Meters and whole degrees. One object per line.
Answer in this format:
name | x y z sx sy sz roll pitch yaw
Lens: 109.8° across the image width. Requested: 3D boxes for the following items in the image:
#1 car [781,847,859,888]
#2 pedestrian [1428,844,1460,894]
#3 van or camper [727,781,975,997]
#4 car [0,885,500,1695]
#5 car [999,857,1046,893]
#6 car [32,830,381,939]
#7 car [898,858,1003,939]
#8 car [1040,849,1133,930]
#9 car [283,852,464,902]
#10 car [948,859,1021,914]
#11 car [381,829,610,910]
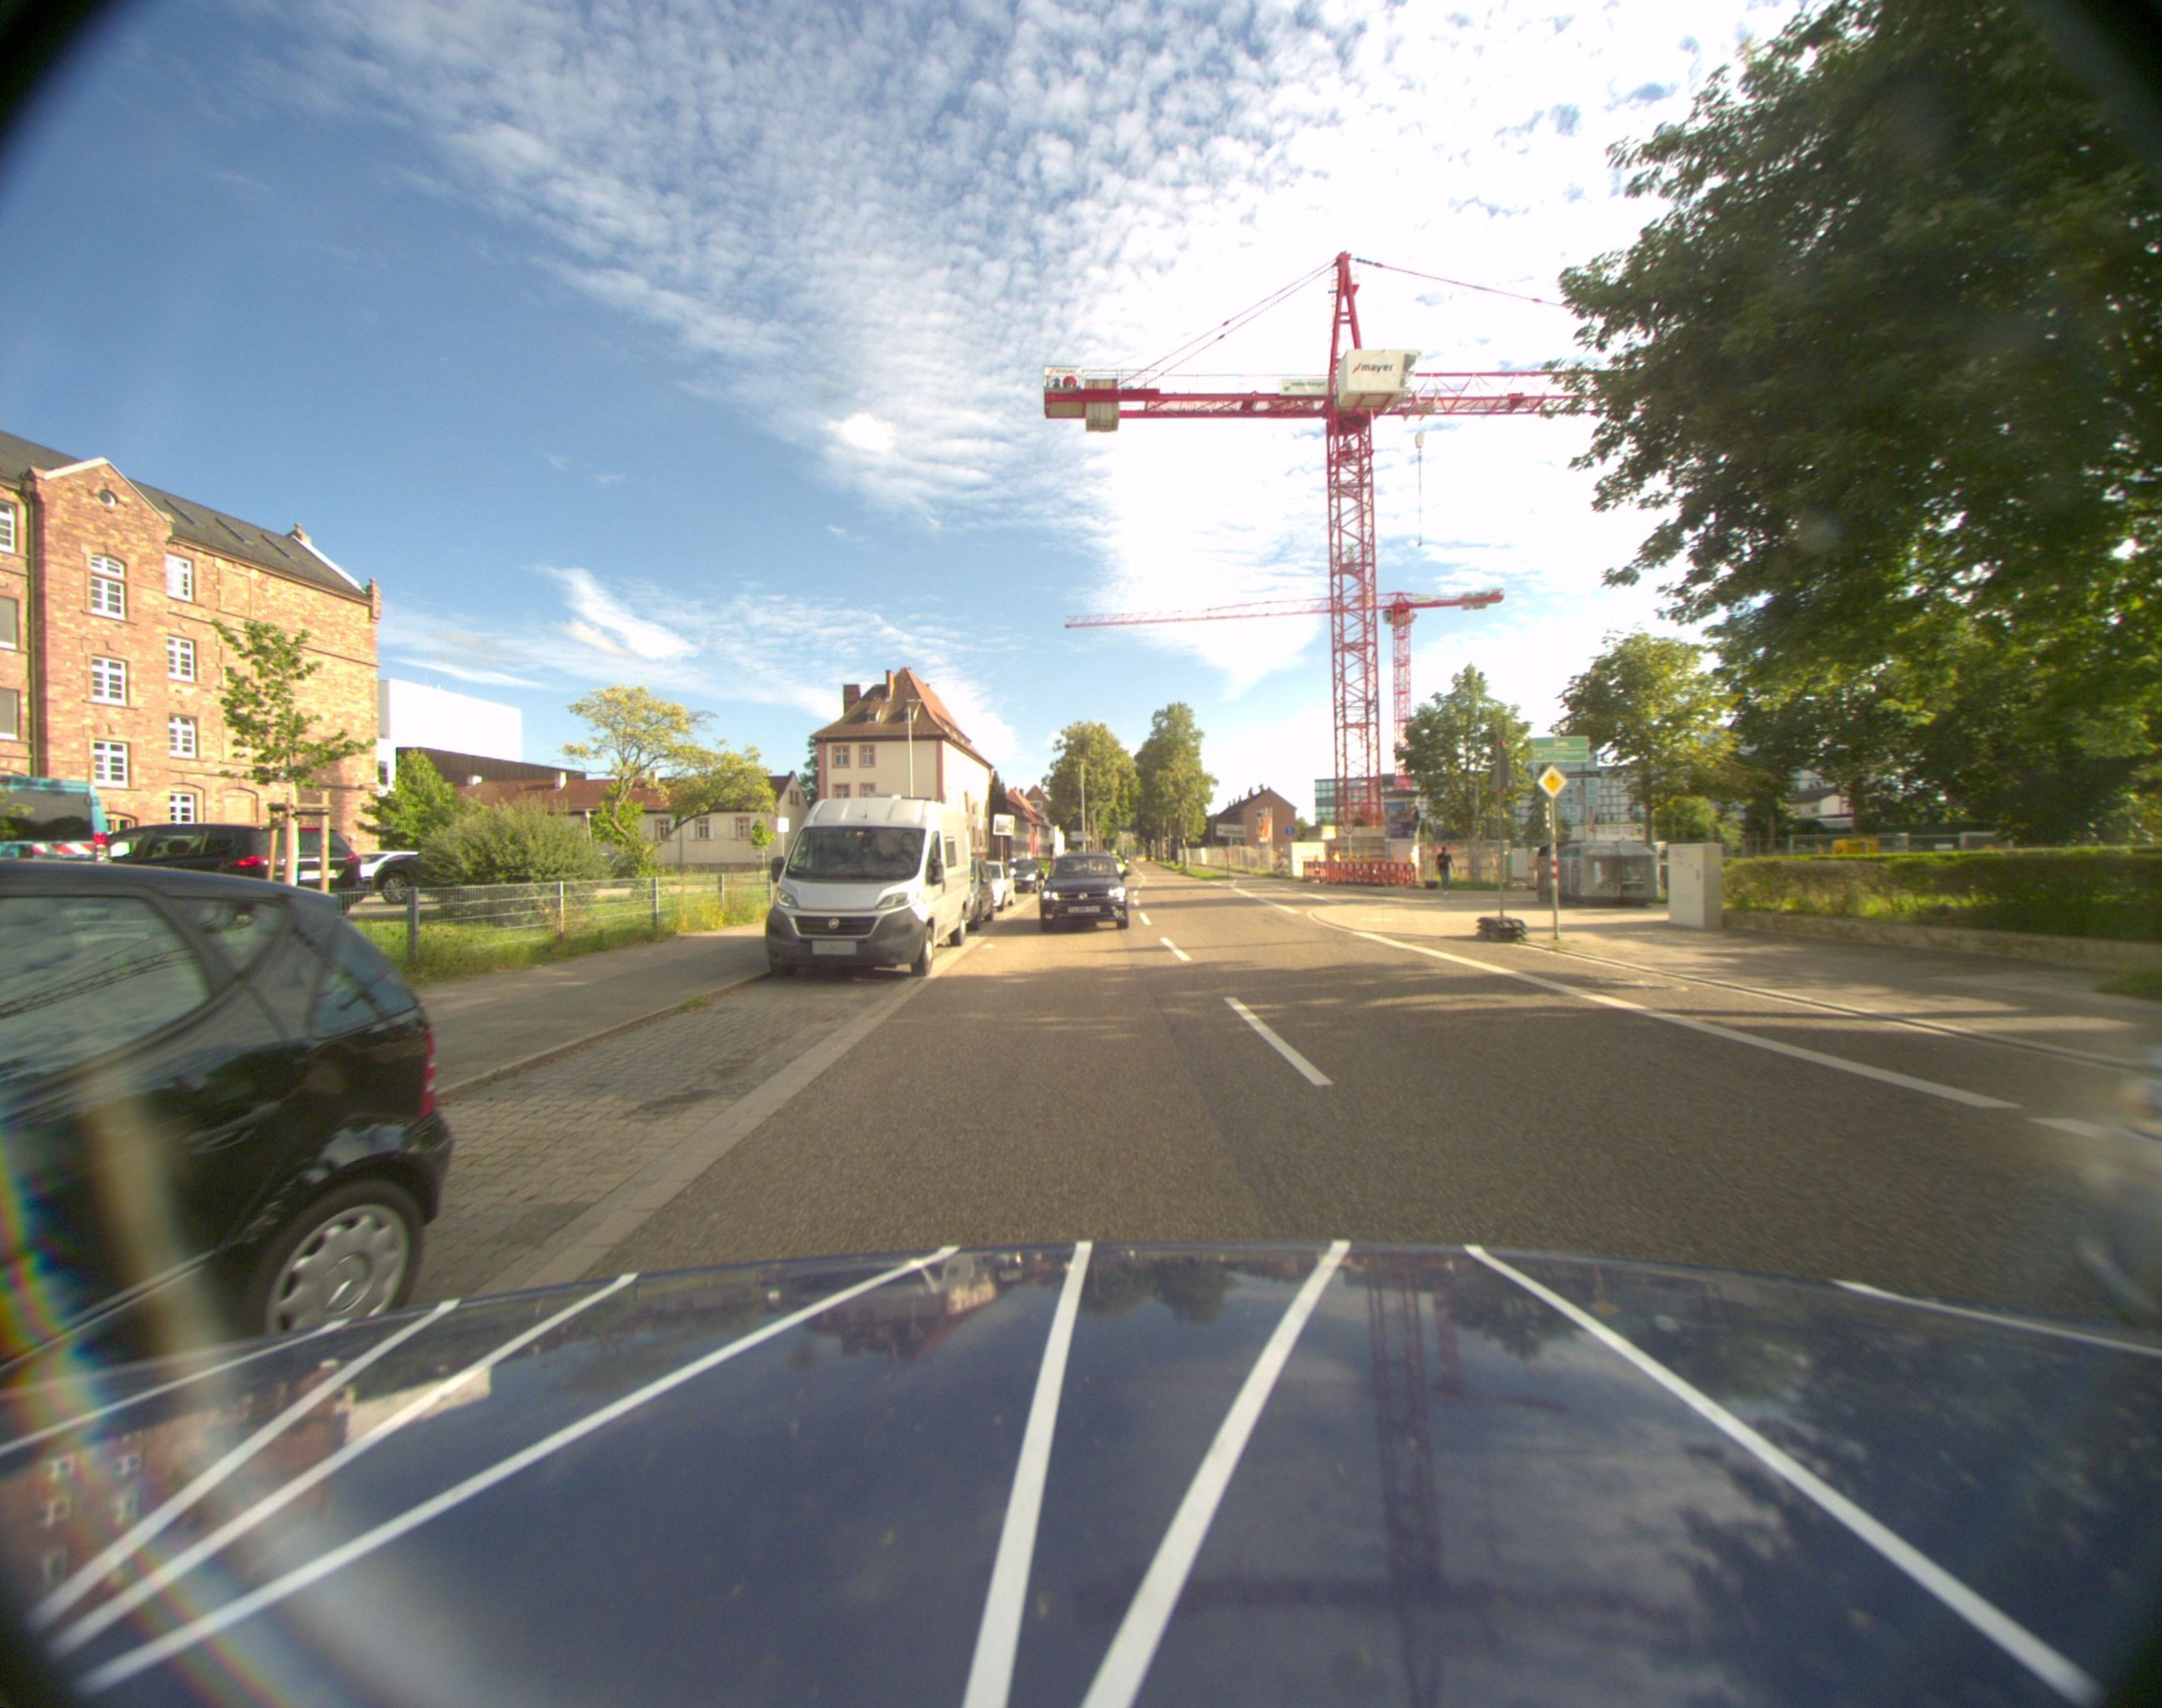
car | -11.425 0.567 33.589 1.888 1.709 4.091 0 0 2
pedestrian | 12.906 0.534 27.003 0.743 1.758 0.775 0 1 -2
van or camper | -3.127 0.420 11.934 2.165 2.512 5.913 1 0 -1
car | -3.033 0.921 0.903 1.678 1.593 3.969 0 0 -1
car | -2.559 0.883 34.052 1.662 1.477 4.000 1 0 2
car | -13.851 0.470 12.165 3.793 1.555 1.872 -1 0 9
car | -2.939 0.940 17.955 1.677 1.639 4.204 1 0 0
car | 0.240 0.751 18.209 1.859 1.673 4.001 -2 0 5
car | -22.372 0.675 24.275 1.888 1.443 4.091 0 0 2
car | -2.906 0.943 23.614 1.662 1.477 4.000 2 0 1
car | -13.016 0.329 17.034 3.794 1.649 1.871 -1 0 7
